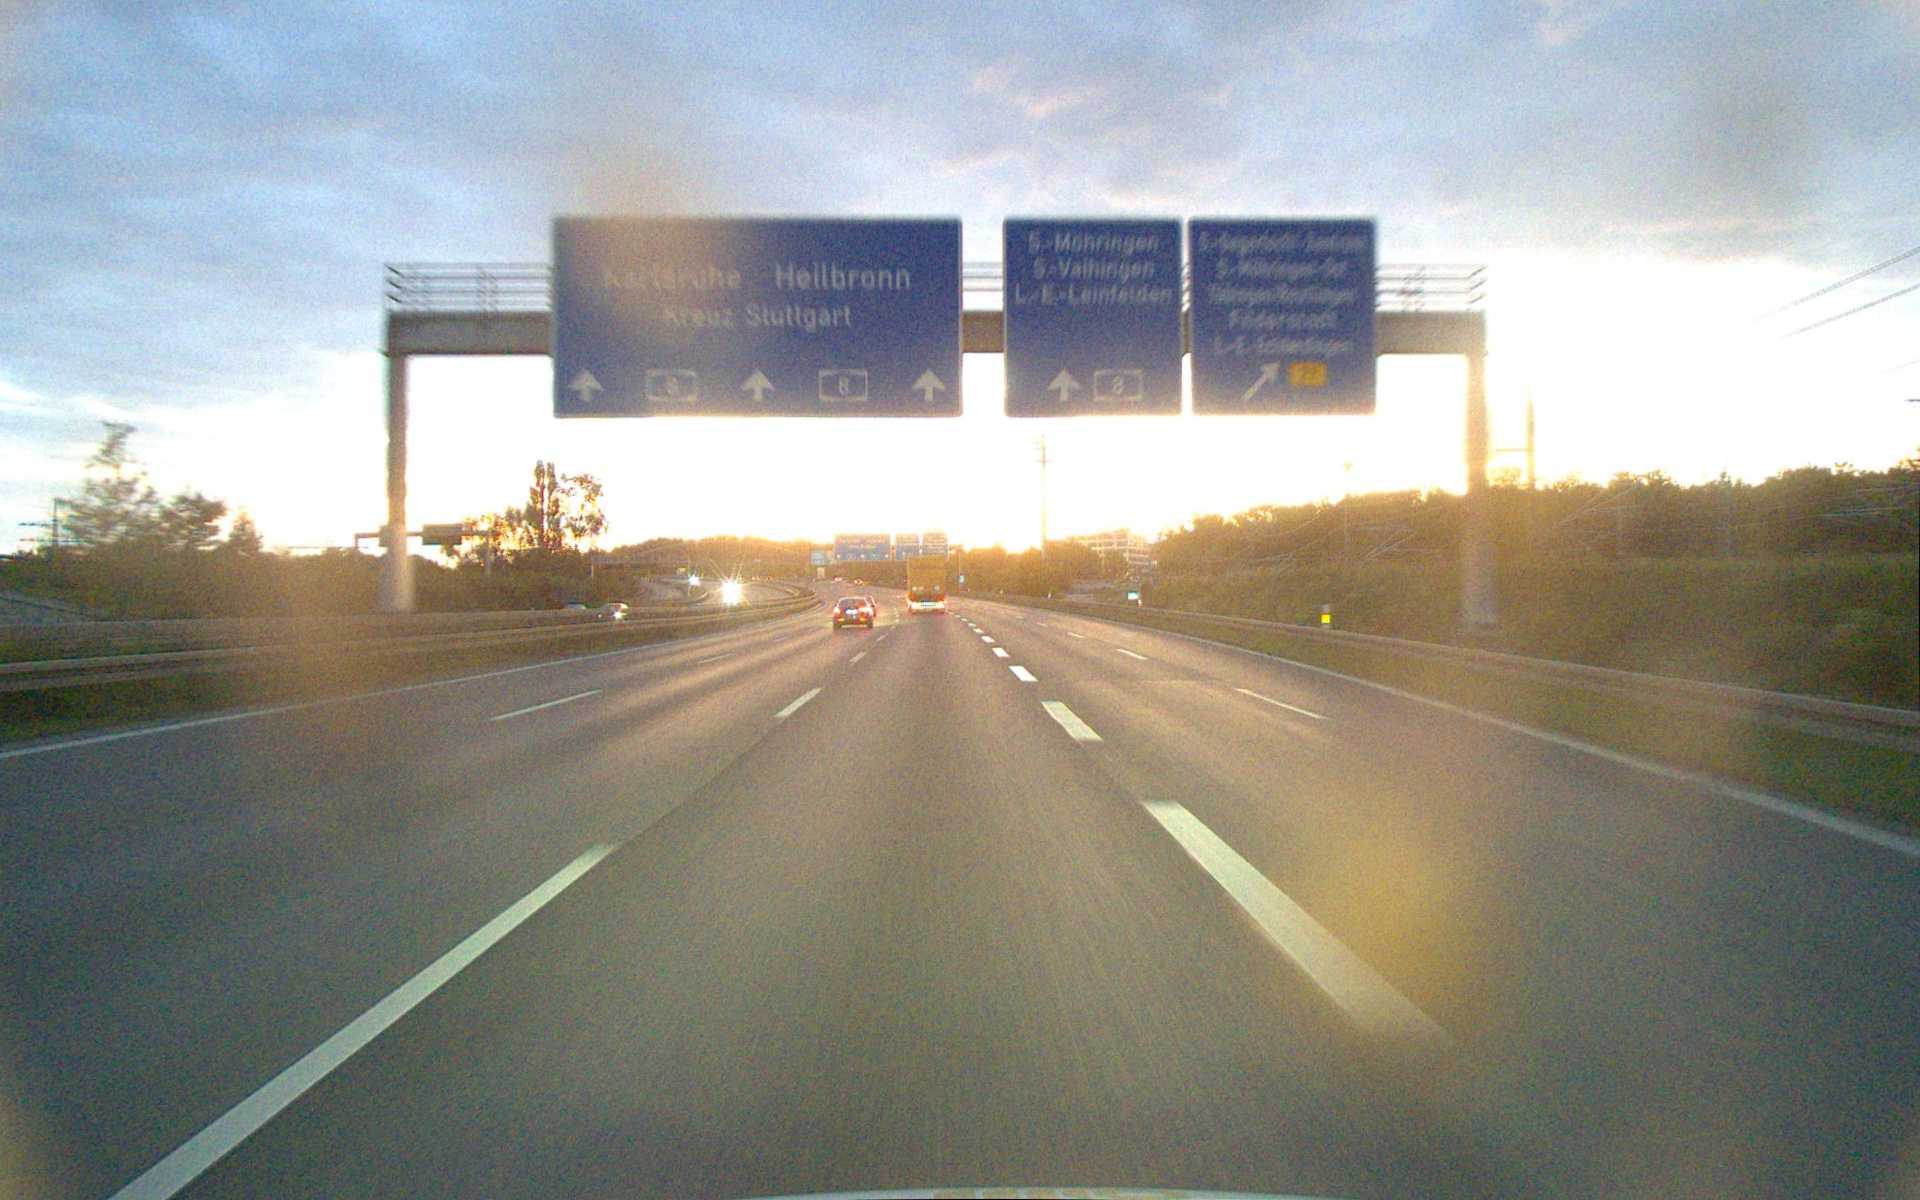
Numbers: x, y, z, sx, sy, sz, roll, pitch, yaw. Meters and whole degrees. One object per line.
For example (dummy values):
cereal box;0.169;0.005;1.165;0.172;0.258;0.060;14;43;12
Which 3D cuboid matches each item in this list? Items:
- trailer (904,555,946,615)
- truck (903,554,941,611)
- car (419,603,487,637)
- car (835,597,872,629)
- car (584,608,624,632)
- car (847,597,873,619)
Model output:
trailer;-2.609;-1.152;120.048;2.667;4.142;8.827;-2;1;-2
truck;-3.043;-1.436;129.697;2.637;4.142;10.516;-2;1;-3
car;-22.422;0.898;73.307;1.655;1.426;4.428;1;-1;-1
car;-5.048;0.623;78.277;1.656;1.426;3.405;-2;0;-5
car;-22.747;1.285;105.893;1.655;1.426;4.428;1;-1;-1
car;-6.816;0.559;113.178;1.656;1.426;3.407;-3;-1;-3
